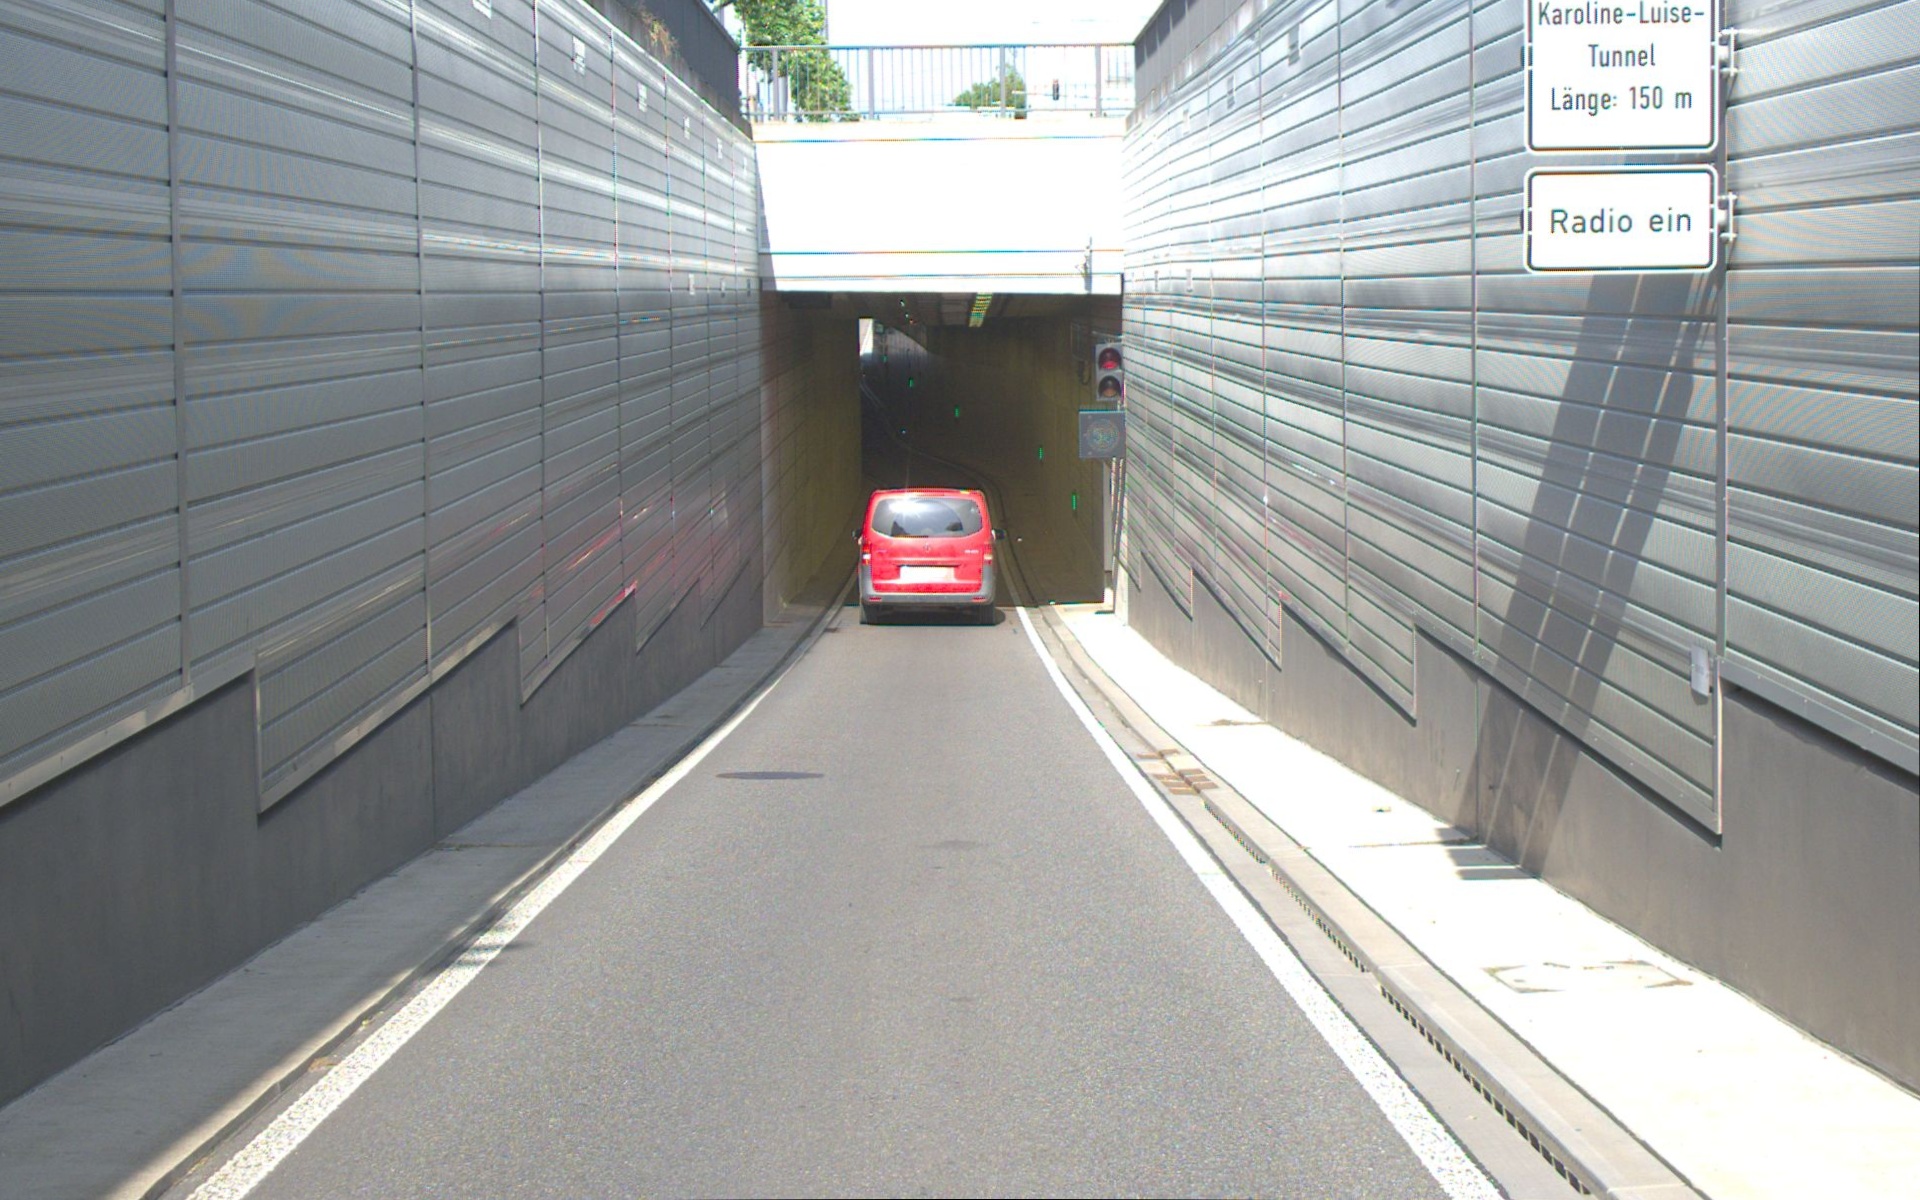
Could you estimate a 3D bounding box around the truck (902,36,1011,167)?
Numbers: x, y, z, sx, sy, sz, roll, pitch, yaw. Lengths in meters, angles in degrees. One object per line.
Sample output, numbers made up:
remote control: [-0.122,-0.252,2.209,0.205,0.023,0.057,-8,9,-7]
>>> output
truck: [-0.180,-16.494,114.447,3.391,3.712,10.455,-1,5,-1]

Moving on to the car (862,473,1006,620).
car: [-0.380,-0.791,48.420,1.901,1.853,4.001,1,3,-1]
